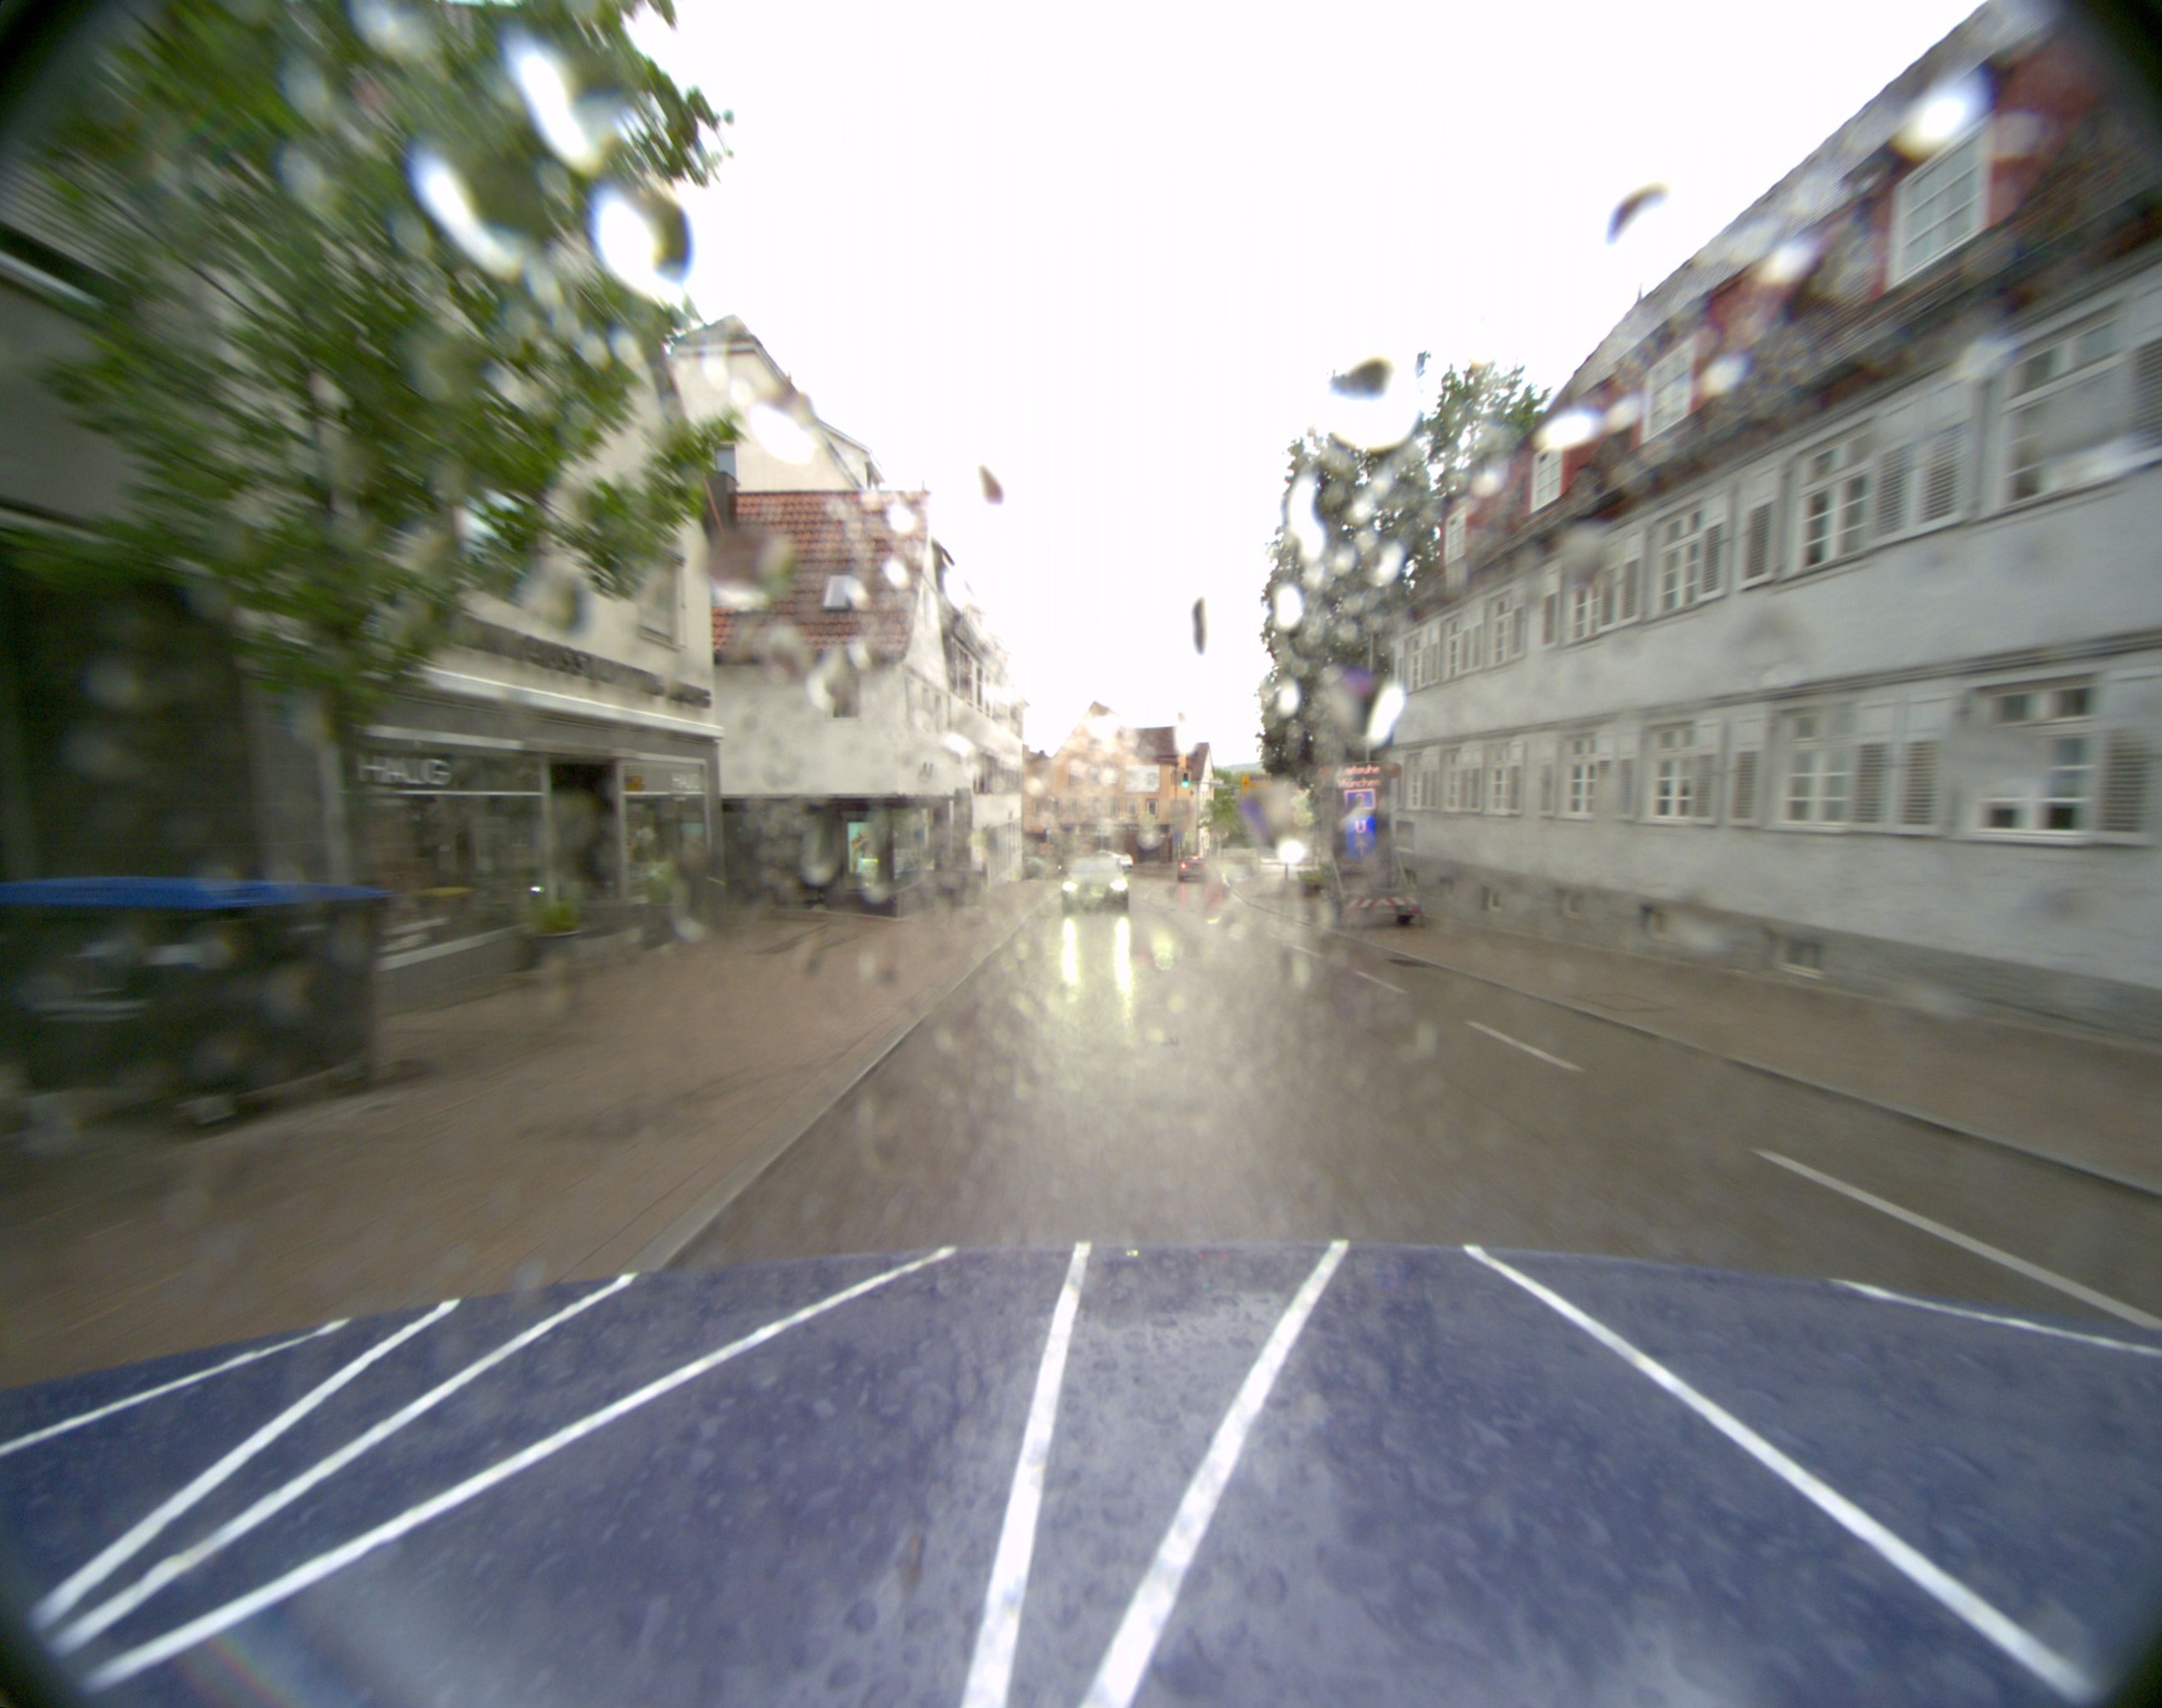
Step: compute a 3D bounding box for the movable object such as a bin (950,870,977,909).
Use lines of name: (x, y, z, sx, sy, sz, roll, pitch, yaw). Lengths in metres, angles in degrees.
movable object such as a bin: (-3.265, 0.981, 21.098, 0.571, 1.022, 0.467, 1, 1, -40)

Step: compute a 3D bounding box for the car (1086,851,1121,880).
car: (1.341, 0.652, 45.152, 1.967, 1.598, 4.383, 0, 0, 2)

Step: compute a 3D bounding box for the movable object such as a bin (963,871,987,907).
movable object such as a bin: (-3.109, 1.012, 22.250, 0.596, 1.022, 0.476, 2, 1, 2)

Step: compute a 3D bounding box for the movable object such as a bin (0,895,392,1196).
movable object such as a bin: (-4.928, 0.928, 4.158, 1.237, 1.327, 1.172, 1, 0, 2)

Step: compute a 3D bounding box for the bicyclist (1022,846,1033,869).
bicyclist: (-4.583, 0.286, 65.283, 0.568, 1.923, 0.693, -1, 1, 27)

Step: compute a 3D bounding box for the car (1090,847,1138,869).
car: (2.497, 0.303, 58.298, 1.971, 1.598, 4.374, 1, 1, -23)

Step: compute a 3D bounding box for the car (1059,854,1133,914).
car: (0.437, 0.802, 22.365, 1.967, 1.549, 4.622, 0, 1, 1)

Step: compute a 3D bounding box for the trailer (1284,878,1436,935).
trailer: (6.183, 1.126, 17.453, 1.998, 0.900, 4.477, -2, 0, 3)

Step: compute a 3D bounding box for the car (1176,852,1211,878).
car: (6.729, 0.661, 45.556, 1.612, 1.463, 3.586, 1, 0, 1)
